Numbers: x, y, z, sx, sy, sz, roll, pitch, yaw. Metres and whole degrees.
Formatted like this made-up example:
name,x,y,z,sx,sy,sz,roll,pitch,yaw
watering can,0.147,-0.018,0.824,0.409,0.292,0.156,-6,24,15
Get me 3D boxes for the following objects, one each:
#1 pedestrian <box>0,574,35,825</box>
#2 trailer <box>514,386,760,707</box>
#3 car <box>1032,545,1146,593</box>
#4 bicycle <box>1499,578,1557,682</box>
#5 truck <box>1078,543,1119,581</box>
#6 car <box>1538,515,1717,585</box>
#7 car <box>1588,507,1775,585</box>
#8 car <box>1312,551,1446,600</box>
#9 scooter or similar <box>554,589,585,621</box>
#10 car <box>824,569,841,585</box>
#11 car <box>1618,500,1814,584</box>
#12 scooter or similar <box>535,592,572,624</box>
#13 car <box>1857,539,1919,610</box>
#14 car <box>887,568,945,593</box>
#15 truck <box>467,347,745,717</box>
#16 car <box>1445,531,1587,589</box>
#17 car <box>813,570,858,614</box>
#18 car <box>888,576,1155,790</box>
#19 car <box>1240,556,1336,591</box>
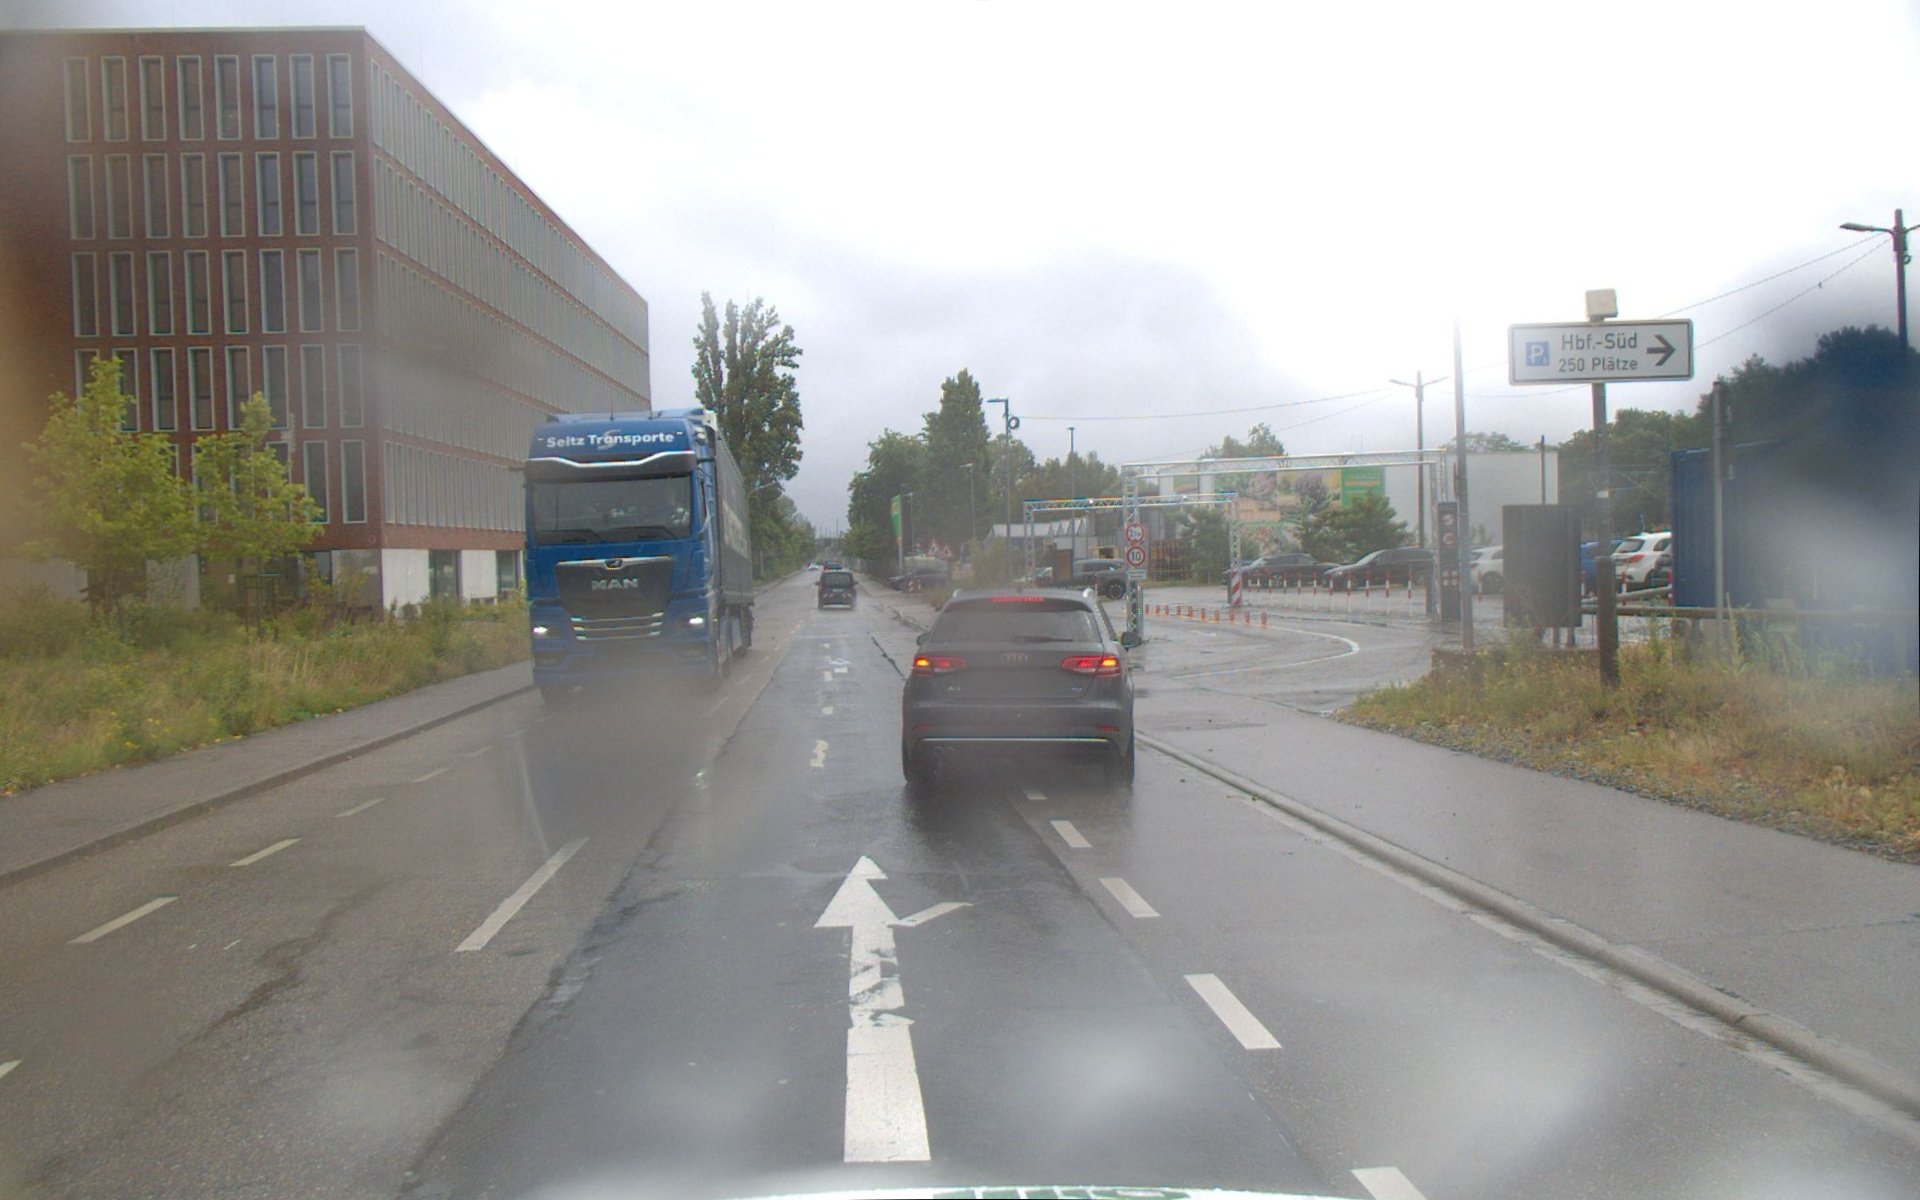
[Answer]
name,x,y,z,sx,sy,sz,roll,pitch,yaw
pedestrian,-7.157,0.708,11.470,0.891,1.748,1.026,-2,0,-4
trailer,-5.679,-0.900,31.774,3.231,4.734,13.716,-2,1,-6
car,5.404,-1.286,69.794,4.586,1.765,2.128,-3,0,0
bicycle,6.467,0.317,18.874,0.496,1.103,1.704,-2,1,16
truck,10.679,-2.947,127.829,2.254,2.705,7.415,-3,1,-1
car,17.908,-1.322,44.485,3.964,1.509,1.927,-4,0,-2
car,18.100,-1.339,41.583,3.825,1.611,1.786,-4,0,-2
car,16.012,-0.931,63.291,4.536,1.746,2.014,-1,0,-10
scooter or similar,-16.157,0.190,68.424,0.458,1.251,1.203,-2,1,38
car,-14.107,-2.575,183.023,1.695,1.716,3.896,-2,0,-2
car,17.710,-1.342,38.870,3.699,1.611,1.786,-4,0,-2
scooter or similar,-16.138,0.318,65.685,1.289,1.198,0.467,-2,1,1
car,19.018,-0.579,29.962,4.499,1.242,1.976,-4,0,-6
car,-3.151,-1.406,118.465,4.053,1.596,1.764,-2,1,-2
truck,-5.000,-0.938,24.640,3.231,4.734,6.026,-2,1,-6
car,17.532,-1.243,52.276,3.753,1.509,1.927,-4,0,-2
car,-5.921,-0.378,78.181,1.955,1.943,4.196,-2,1,-5
car,0.534,0.559,13.750,1.855,1.482,4.229,-1,1,3
car,14.888,-1.197,75.249,3.908,1.511,1.998,-1,0,-4
